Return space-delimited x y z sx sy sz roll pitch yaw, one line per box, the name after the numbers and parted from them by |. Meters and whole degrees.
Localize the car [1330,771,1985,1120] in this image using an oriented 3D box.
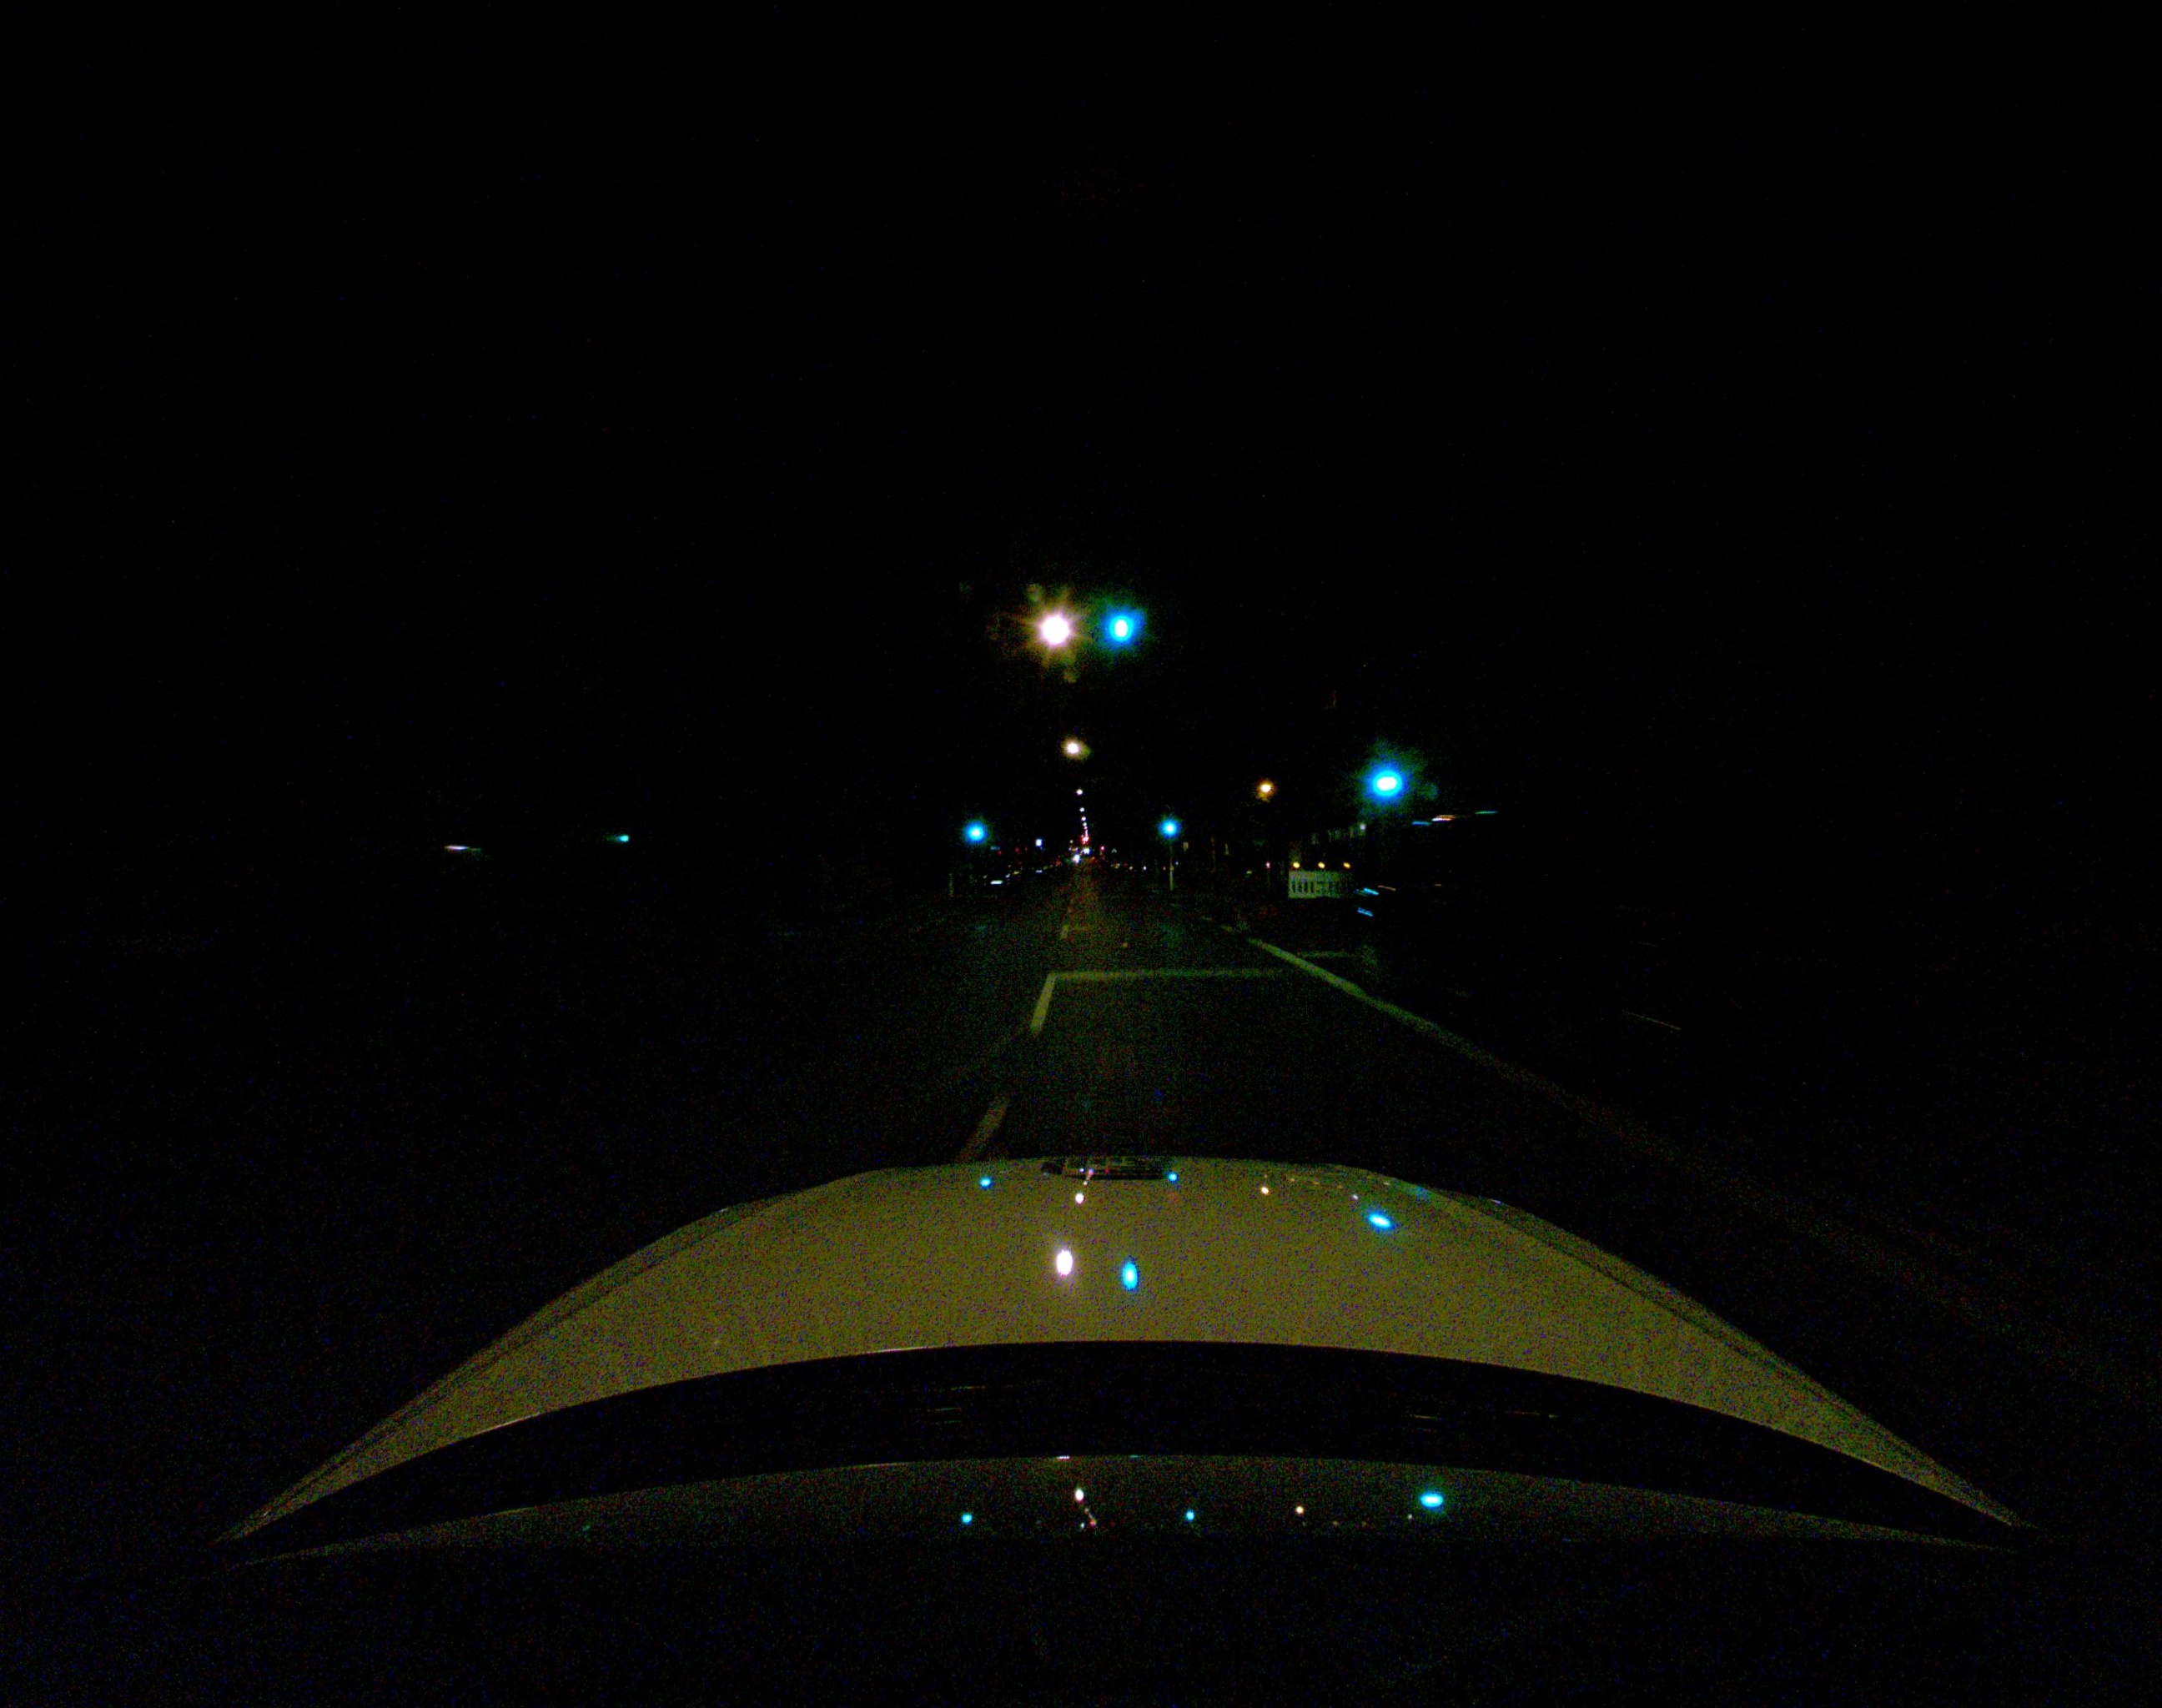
3.866 0.491 6.831 1.906 1.827 4.897 -1 0 -2 | car

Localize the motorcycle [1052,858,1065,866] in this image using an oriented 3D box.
-3.374 1.223 121.916 0.720 1.147 2.182 -2 1 -42 | motorcycle

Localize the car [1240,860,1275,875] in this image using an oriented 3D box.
17.185 1.260 79.287 1.779 1.417 3.862 -1 -1 38 | car

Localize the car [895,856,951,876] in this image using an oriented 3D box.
-12.567 0.925 64.791 3.962 1.425 1.767 2 0 10 | car

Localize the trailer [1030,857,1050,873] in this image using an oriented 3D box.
-4.263 1.120 85.666 1.630 1.640 3.444 0 -1 5 | trailer

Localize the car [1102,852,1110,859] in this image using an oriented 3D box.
5.989 0.359 195.104 1.862 1.526 4.150 -2 1 1 | car

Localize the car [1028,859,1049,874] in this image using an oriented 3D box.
-4.204 1.233 81.046 1.809 1.484 4.346 -1 0 -1 | car

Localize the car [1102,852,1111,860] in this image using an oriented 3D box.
5.629 0.423 181.830 1.806 1.594 4.274 -2 1 1 | car

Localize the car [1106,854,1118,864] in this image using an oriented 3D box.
5.037 0.858 132.926 1.757 1.476 4.081 -3 1 1 | car

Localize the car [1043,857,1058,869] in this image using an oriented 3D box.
-3.935 1.163 105.287 1.858 1.491 4.279 0 -1 0 | car

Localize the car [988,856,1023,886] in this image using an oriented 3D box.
-4.477 0.976 48.867 1.844 1.650 4.666 0 0 -3 | car

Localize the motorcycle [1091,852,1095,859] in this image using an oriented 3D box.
2.807 0.418 194.143 0.927 1.752 2.625 0 -1 1 | motorcycle

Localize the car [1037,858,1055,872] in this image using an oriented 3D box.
-3.940 1.267 91.625 1.829 1.446 4.543 -1 0 -1 | car

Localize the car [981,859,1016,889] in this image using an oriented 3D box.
-4.362 1.025 43.467 1.644 1.514 3.698 0 -1 -3 | car

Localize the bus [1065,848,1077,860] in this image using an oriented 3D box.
-2.651 -0.104 219.687 2.828 3.177 10.499 0 0 1 | bus

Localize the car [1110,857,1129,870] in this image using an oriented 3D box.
4.430 1.120 94.480 1.839 1.417 4.644 -4 -1 0 | car

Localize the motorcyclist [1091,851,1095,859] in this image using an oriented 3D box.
2.804 0.238 194.147 0.846 1.752 0.805 0 -1 0 | motorcyclist

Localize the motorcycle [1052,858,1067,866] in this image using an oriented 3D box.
-3.299 1.181 123.935 2.180 1.131 0.720 -1 0 33 | motorcycle

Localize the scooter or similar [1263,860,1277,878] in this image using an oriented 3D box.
12.442 1.008 53.486 0.494 1.146 1.676 -4 -2 25 | scooter or similar
